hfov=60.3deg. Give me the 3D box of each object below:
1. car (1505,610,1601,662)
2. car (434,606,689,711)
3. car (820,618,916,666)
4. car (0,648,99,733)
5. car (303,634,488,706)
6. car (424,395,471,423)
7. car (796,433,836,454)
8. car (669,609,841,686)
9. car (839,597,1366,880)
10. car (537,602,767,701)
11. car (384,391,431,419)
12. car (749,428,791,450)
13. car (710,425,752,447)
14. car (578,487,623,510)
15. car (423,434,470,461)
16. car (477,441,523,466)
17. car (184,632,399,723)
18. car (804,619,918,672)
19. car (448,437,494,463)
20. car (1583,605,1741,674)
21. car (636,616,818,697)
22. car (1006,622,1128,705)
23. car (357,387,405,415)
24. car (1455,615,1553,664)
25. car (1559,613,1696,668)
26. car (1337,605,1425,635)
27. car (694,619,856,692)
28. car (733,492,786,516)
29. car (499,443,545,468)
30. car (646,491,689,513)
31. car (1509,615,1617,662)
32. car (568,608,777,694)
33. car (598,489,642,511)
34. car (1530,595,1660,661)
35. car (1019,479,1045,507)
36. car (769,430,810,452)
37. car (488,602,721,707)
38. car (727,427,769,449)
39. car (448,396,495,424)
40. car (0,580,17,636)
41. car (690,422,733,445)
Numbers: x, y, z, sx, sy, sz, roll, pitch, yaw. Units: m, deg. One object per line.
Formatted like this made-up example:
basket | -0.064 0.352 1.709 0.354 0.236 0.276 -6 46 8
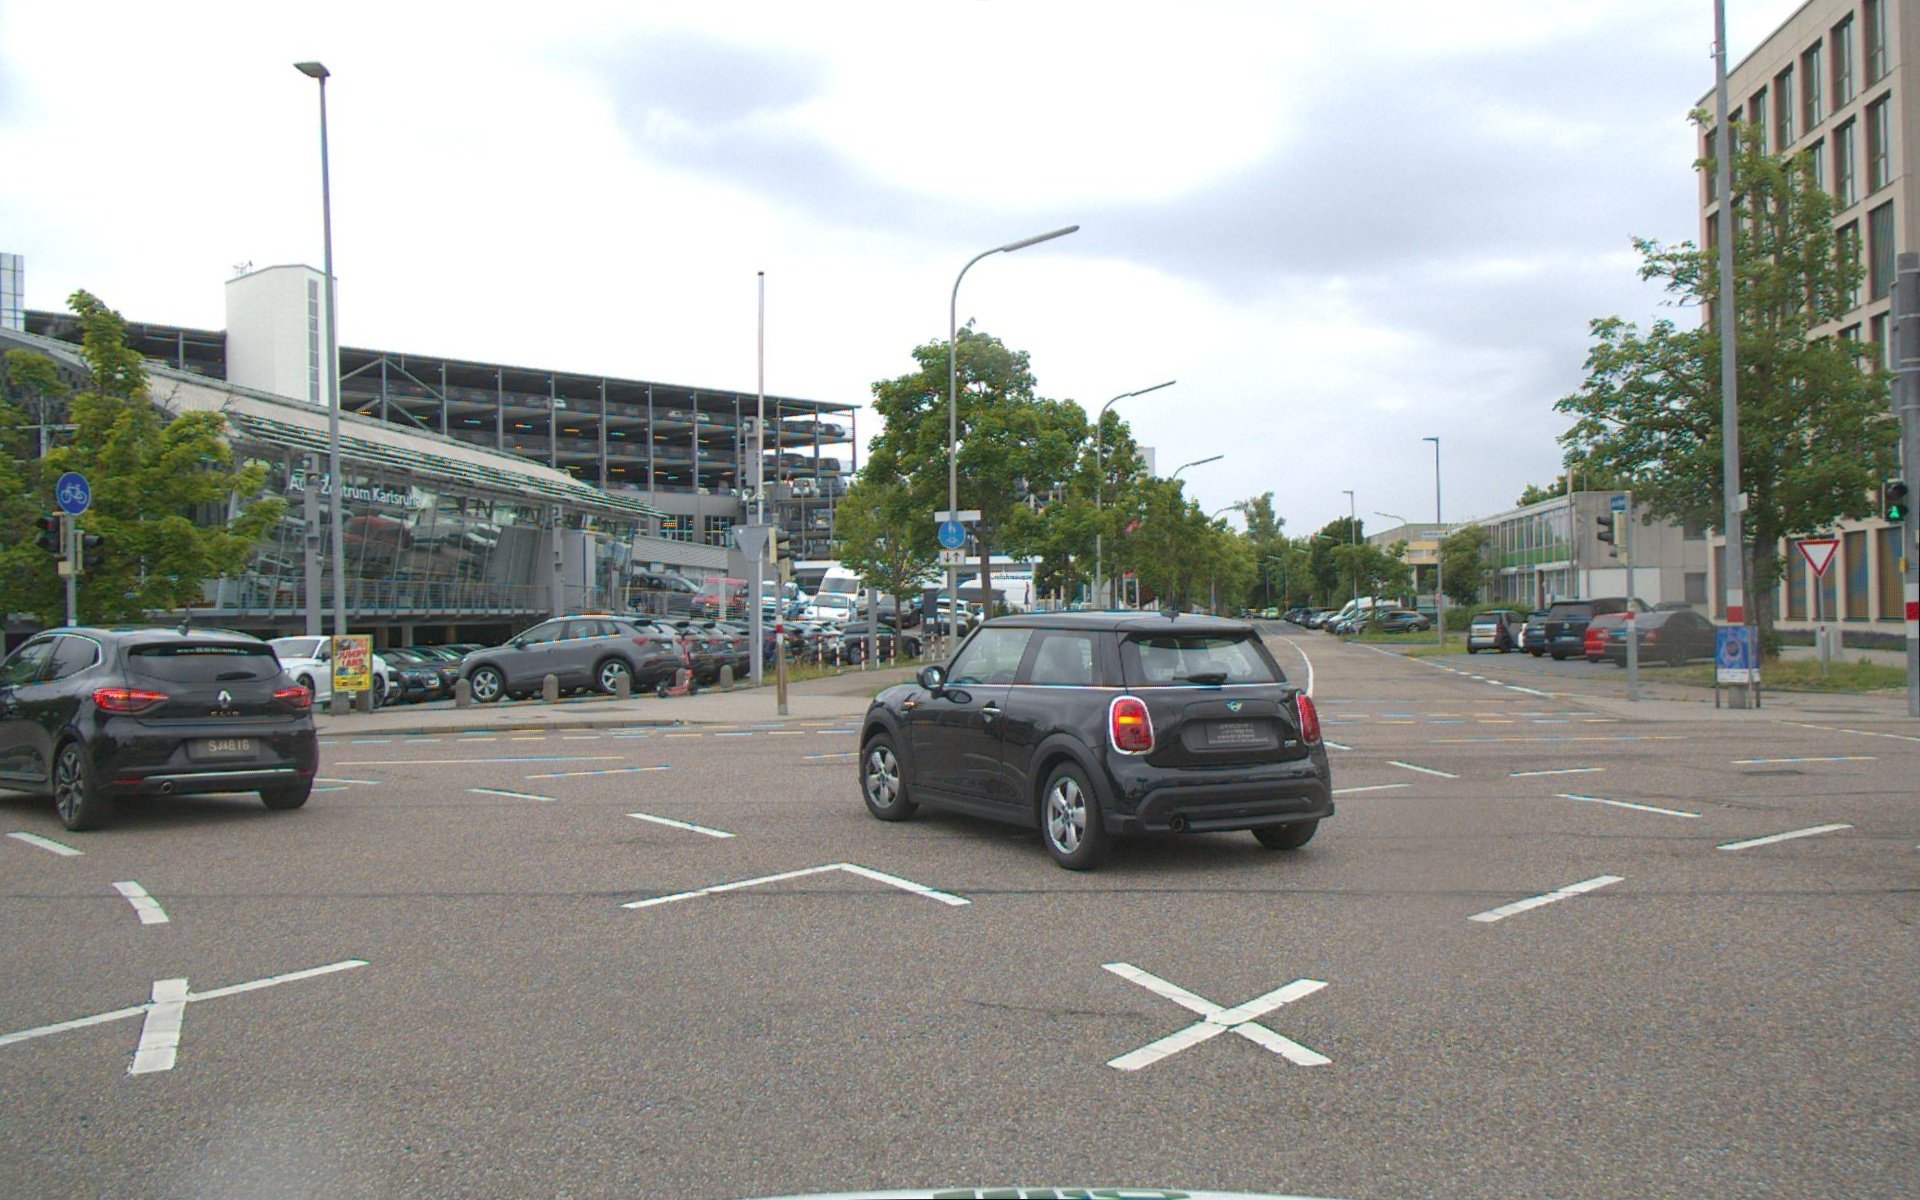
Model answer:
car | 21.735 1.327 60.613 3.388 1.830 1.574 2 -2 -31
car | -8.193 1.212 34.223 4.671 1.895 2.001 -3 -2 6
car | -4.047 1.868 73.117 3.902 2.049 2.001 0 -2 8
car | -18.990 1.758 31.148 4.638 1.512 1.894 -2 -4 7
car | -16.568 2.051 48.655 4.699 1.973 2.001 -2 -1 8
car | -41.895 -15.586 135.119 3.929 1.697 1.988 -1 -1 42
car | -14.558 -15.793 167.162 3.929 1.697 1.988 -1 -1 42
car | -6.211 1.449 50.381 4.789 2.049 2.001 -3 -2 6
car | 0.721 0.727 10.618 1.764 1.440 3.612 -1 0 -26
car | -7.344 1.246 39.744 4.916 2.049 2.267 -3 -2 6
car | -44.467 -15.677 133.076 3.929 1.697 1.988 -1 -1 42
car | -18.676 -15.816 162.364 3.929 1.697 1.988 -1 -1 42
car | -22.009 -15.715 158.720 3.929 1.697 1.988 -1 -1 42
car | -31.823 -8.995 146.445 3.929 1.697 1.988 -1 -1 42
car | -41.910 -12.425 134.941 3.929 1.697 1.988 -1 -1 42
car | -38.525 -12.278 138.571 3.929 1.697 1.988 -1 -1 42
car | -12.266 1.447 30.656 1.829 1.512 4.232 -2 -3 7
car | -3.626 1.657 60.772 3.902 1.870 1.761 0 -2 8
car | -40.448 -12.354 136.738 3.929 1.697 1.988 -1 -1 42
car | 19.156 1.071 45.114 4.075 1.799 1.870 0 -2 -30
car | -6.672 1.635 47.690 4.789 2.049 2.001 -3 -2 6
car | 2.296 1.258 34.300 1.936 1.578 4.617 -1 -1 11
car | -45.935 -15.752 131.135 3.929 1.697 1.988 -1 -1 42
car | 20.544 1.507 62.463 3.388 1.762 1.747 2 -2 -31
car | 20.007 1.224 49.516 4.085 1.578 1.865 1 -2 -35
car | 25.935 1.257 101.981 5.063 1.750 2.145 0 -2 8
car | -5.906 1.782 53.196 4.789 2.049 2.001 -3 -2 6
car | -19.729 -9.385 162.842 5.230 1.979 2.200 -1 -1 39
car | -37.191 -12.214 140.348 3.929 1.697 1.988 -1 -1 42
car | -26.917 -9.003 152.277 3.929 1.697 1.988 -1 -1 42
car | 20.448 1.300 56.059 3.776 1.538 1.675 1 -2 -37
car | -7.304 1.311 42.269 4.843 1.909 2.055 -3 -2 4
car | -30.500 -8.930 148.204 3.929 1.697 1.988 -1 -1 42
car | 20.231 0.917 52.647 4.202 2.000 1.972 1 -3 -38
car | 6.201 -9.146 141.702 1.951 1.916 4.002 -1 -2 6
car | -16.948 -15.738 164.189 3.929 1.697 1.988 -1 -1 42
car | -7.847 1.213 36.775 4.601 2.049 2.001 -3 -2 6
car | -20.542 -15.730 160.462 3.929 1.697 1.988 -1 -1 42
car | -40.495 -15.729 137.083 3.929 1.697 1.988 -1 -1 42
car | -30.257 0.187 49.197 1.781 1.691 4.002 0 -2 5
car | -23.520 -15.761 156.330 3.929 1.697 1.988 -1 -1 42
